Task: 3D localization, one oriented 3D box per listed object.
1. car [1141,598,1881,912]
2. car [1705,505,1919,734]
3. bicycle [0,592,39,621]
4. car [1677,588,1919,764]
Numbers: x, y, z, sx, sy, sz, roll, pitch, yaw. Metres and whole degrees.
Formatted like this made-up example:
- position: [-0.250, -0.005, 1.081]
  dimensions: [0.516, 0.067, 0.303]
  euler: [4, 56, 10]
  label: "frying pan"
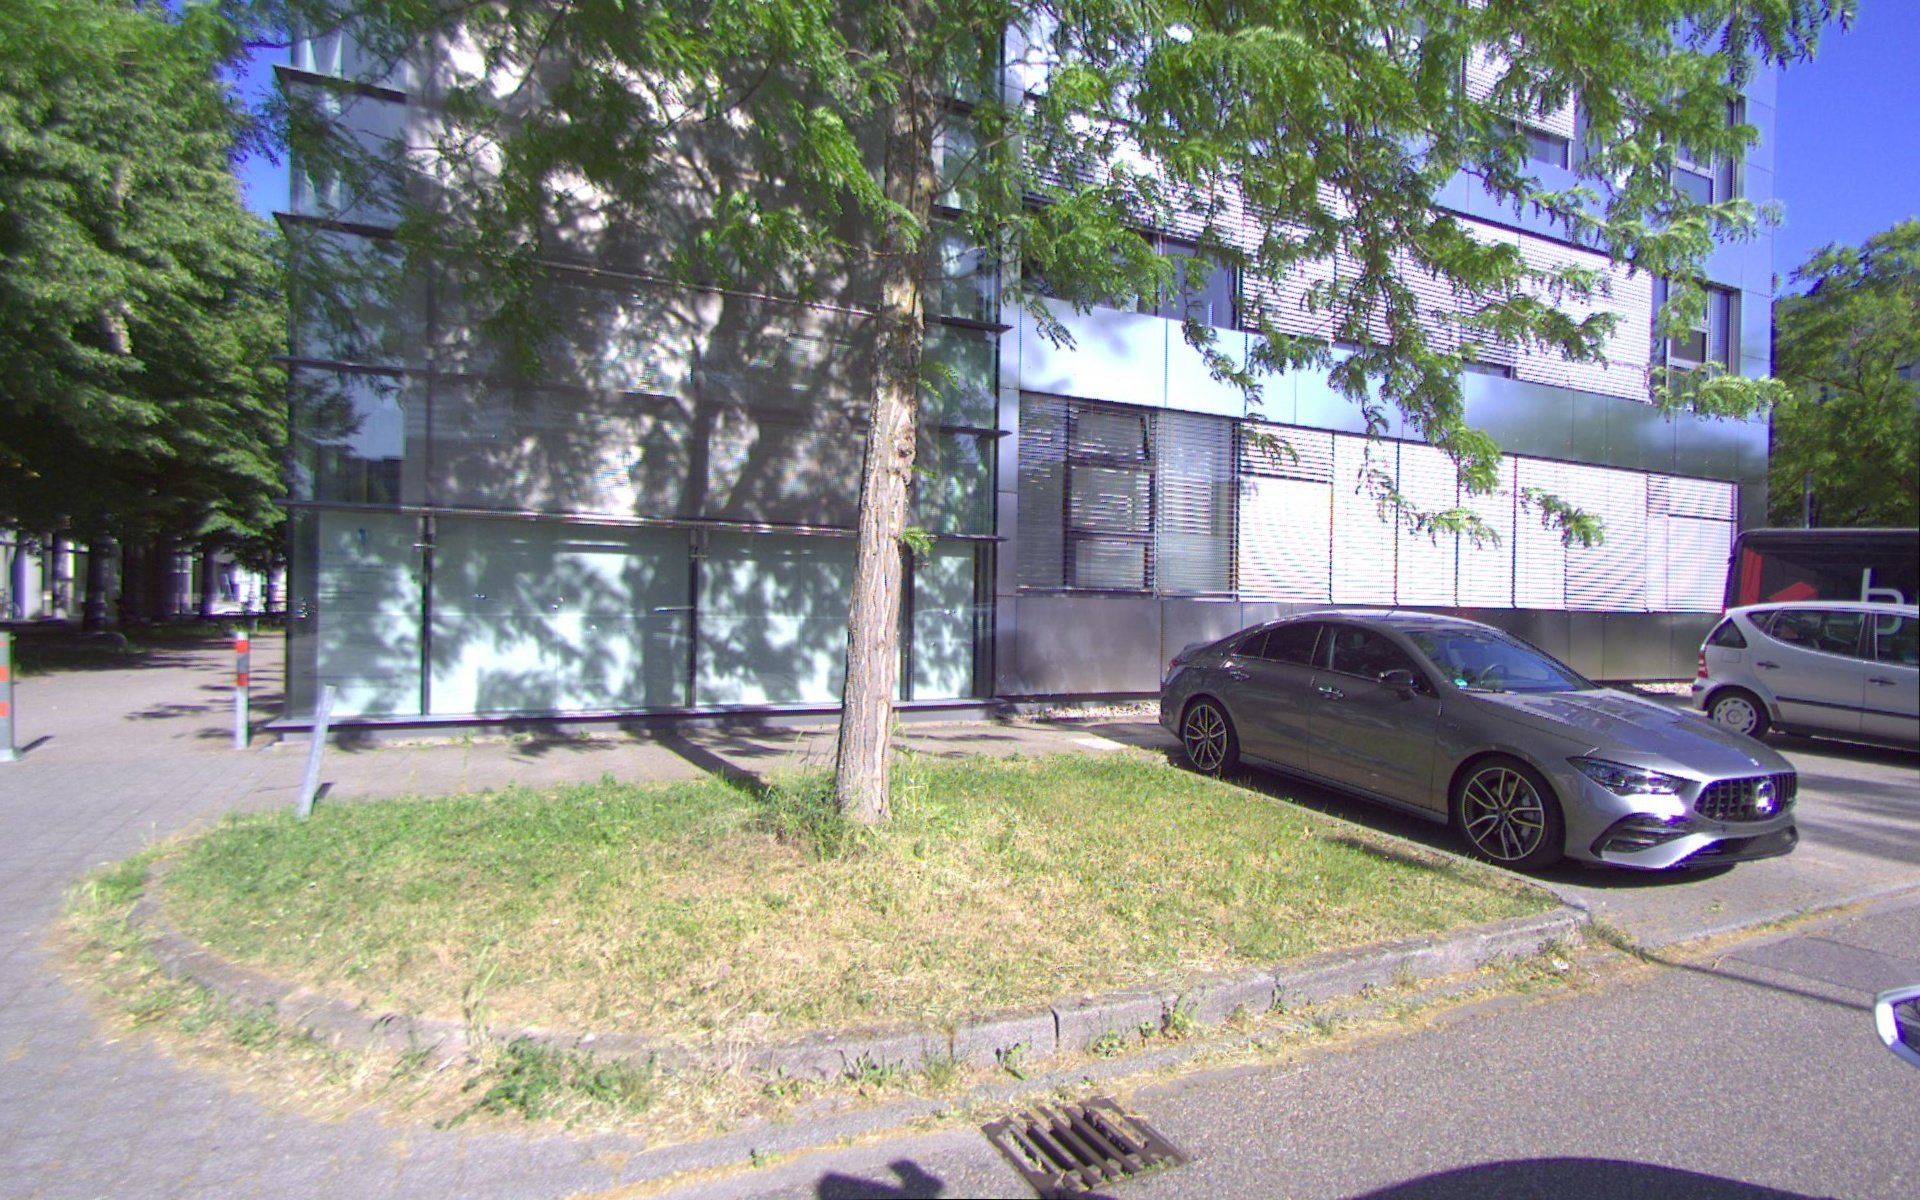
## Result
- position: [3.444, 0.776, 7.392]
  dimensions: [1.867, 1.369, 4.520]
  euler: [1, 2, -25]
  label: "car"
- position: [12.365, 0.264, 11.721]
  dimensions: [2.202, 2.658, 5.436]
  euler: [1, 2, -25]
  label: "car"
- position: [-35.314, 0.229, 36.955]
  dimensions: [2.035, 1.080, 0.504]
  euler: [1, 0, -24]
  label: "bicycle"
- position: [10.109, 0.774, 10.478]
  dimensions: [1.868, 1.667, 3.817]
  euler: [1, 2, -27]
  label: "car"
